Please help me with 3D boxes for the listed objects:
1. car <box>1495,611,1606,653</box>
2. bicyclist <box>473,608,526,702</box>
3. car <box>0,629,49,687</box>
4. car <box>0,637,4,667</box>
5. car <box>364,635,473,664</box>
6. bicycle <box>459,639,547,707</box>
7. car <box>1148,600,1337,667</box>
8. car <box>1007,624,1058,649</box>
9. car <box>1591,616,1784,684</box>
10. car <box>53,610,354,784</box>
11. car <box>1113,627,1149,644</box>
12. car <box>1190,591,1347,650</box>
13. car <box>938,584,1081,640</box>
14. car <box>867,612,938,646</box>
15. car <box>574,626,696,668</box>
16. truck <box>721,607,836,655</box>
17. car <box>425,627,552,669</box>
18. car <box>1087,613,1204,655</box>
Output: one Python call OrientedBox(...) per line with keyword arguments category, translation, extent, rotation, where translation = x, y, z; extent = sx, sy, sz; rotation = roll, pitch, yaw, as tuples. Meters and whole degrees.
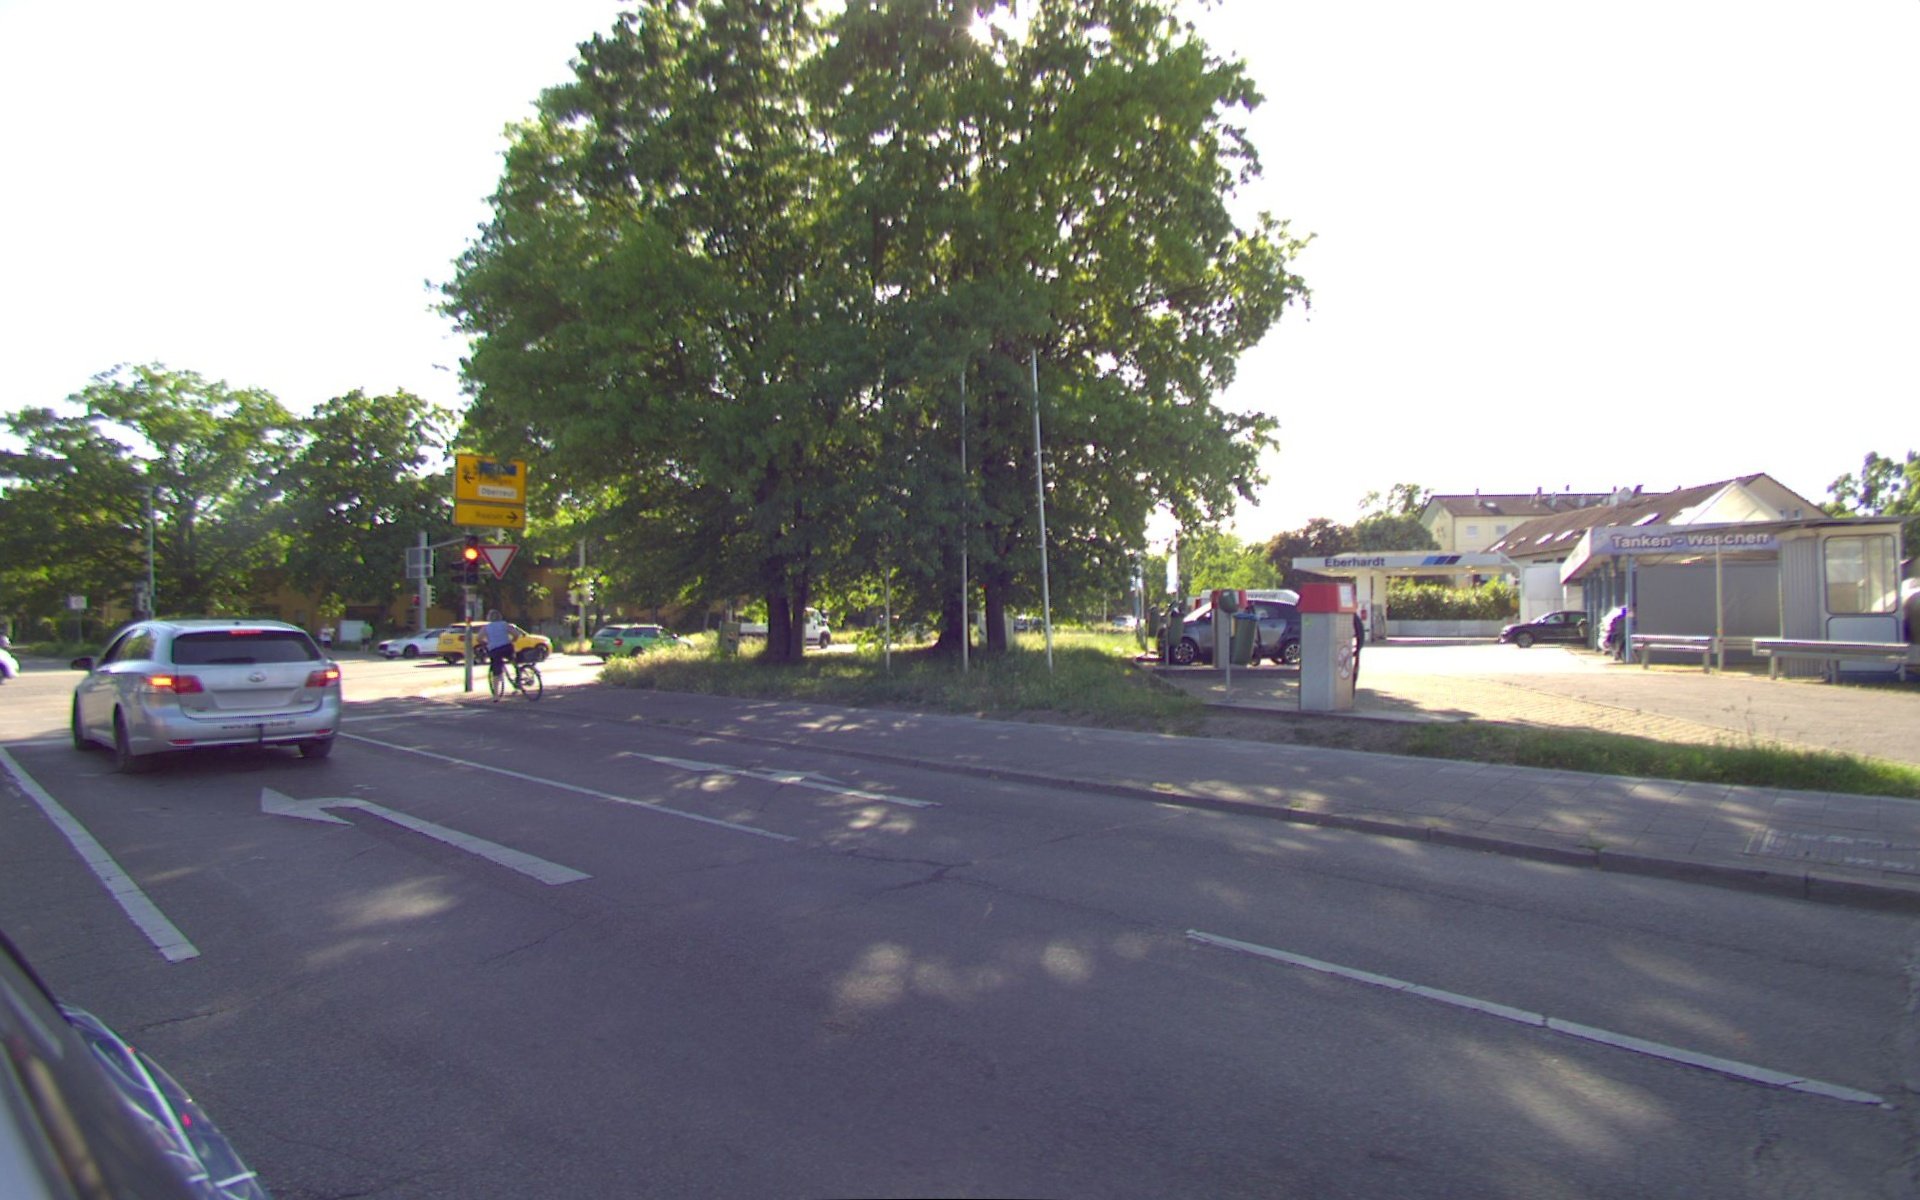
OrientedBox(category="car", translation=(25.672, 1.378, 44.150), extent=(4.065, 1.684, 1.571), rotation=(1, -1, 29))
OrientedBox(category="bicyclist", translation=(-8.291, 0.975, 18.202), extent=(0.828, 1.654, 0.536), rotation=(-2, -2, 36))
OrientedBox(category="car", translation=(-25.370, 1.462, 25.035), extent=(1.686, 1.451, 3.873), rotation=(-1, -2, 29))
OrientedBox(category="car", translation=(-48.356, 2.511, 49.702), extent=(3.888, 1.409, 1.618), rotation=(1, -1, 40))
OrientedBox(category="car", translation=(-25.781, 2.347, 48.362), extent=(1.685, 1.238, 4.458), rotation=(-1, -1, 28))
OrientedBox(category="bicycle", translation=(-8.206, 1.279, 18.144), extent=(2.022, 1.150, 0.522), rotation=(-2, -2, 37))
OrientedBox(category="car", translation=(6.471, 0.753, 23.520), extent=(3.951, 1.386, 1.756), rotation=(1, -1, 7))
OrientedBox(category="car", translation=(5.119, 2.506, 70.765), extent=(1.821, 1.697, 4.346), rotation=(0, -1, 30))
OrientedBox(category="car", translation=(19.575, 1.302, 27.467), extent=(3.983, 1.619, 1.980), rotation=(1, -1, 29))
OrientedBox(category="car", translation=(-8.460, 0.915, 11.121), extent=(4.890, 1.500, 1.816), rotation=(-2, -3, 43))
OrientedBox(category="car", translation=(15.148, 3.123, 89.579), extent=(1.834, 1.405, 4.322), rotation=(1, -1, 28))
OrientedBox(category="car", translation=(12.137, 0.775, 39.894), extent=(5.629, 2.115, 1.981), rotation=(1, -1, 29))
OrientedBox(category="car", translation=(1.484, 0.353, 30.186), extent=(3.971, 1.523, 1.522), rotation=(1, -1, 21))
OrientedBox(category="car", translation=(-3.178, 1.607, 56.579), extent=(1.913, 1.741, 4.321), rotation=(1, -1, 29))
OrientedBox(category="car", translation=(-12.647, 1.803, 39.637), extent=(1.916, 1.497, 4.315), rotation=(1, -1, 34))
OrientedBox(category="truck", translation=(-9.315, 1.595, 52.694), extent=(2.182, 2.327, 6.708), rotation=(-1, -2, 29))
OrientedBox(category="car", translation=(-17.467, 1.743, 37.702), extent=(1.686, 1.451, 4.079), rotation=(0, -1, 29))
OrientedBox(category="car", translation=(6.537, 1.194, 35.997), extent=(3.952, 1.345, 1.795), rotation=(1, -1, 7))
